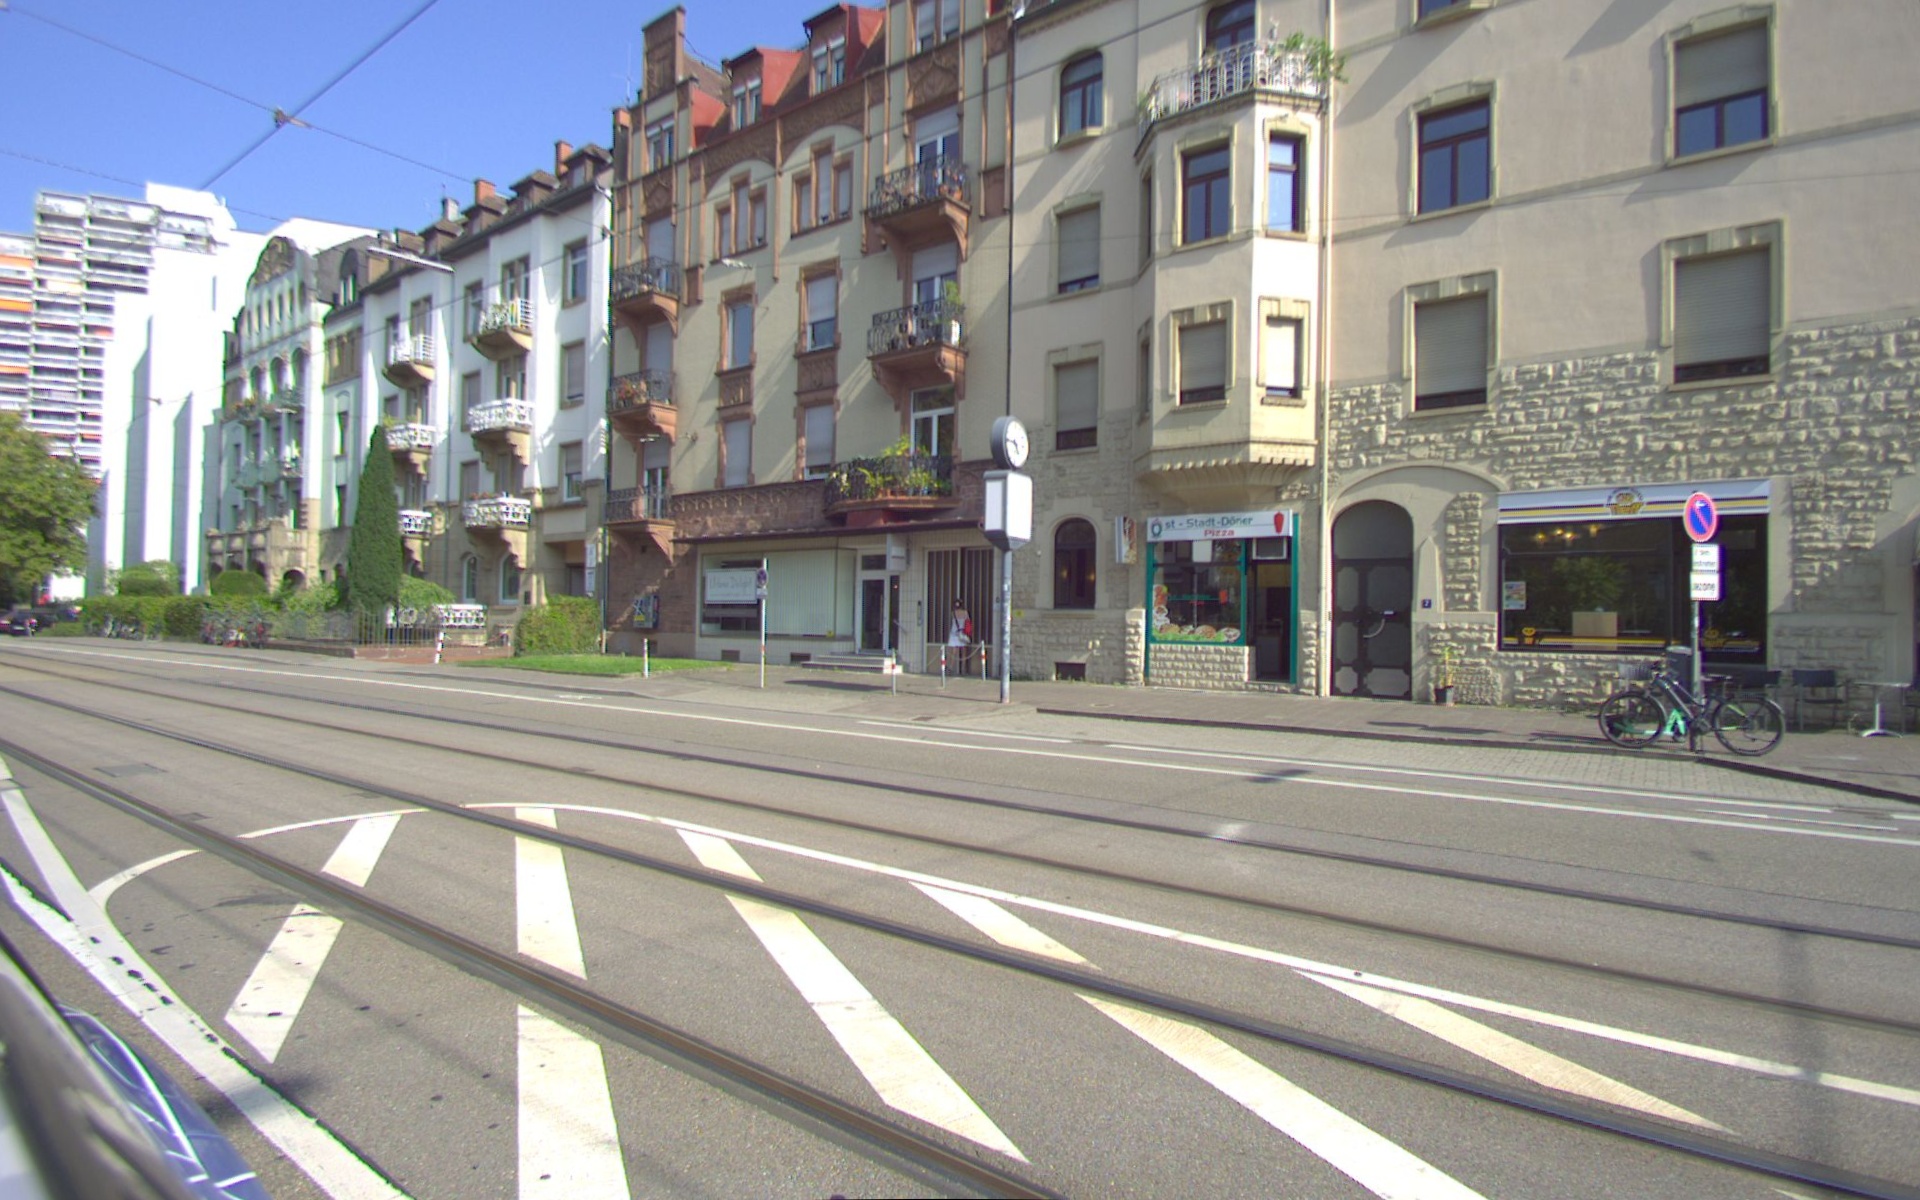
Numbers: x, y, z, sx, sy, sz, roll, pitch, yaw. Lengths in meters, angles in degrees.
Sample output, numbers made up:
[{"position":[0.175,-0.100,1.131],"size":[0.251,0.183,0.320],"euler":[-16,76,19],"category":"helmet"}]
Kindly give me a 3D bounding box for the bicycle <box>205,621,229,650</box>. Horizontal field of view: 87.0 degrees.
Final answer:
[{"position":[-28.832,1.371,39.279],"size":[1.353,1.096,0.366],"euler":[-1,-2,38],"category":"bicycle"}]

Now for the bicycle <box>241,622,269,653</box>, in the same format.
[{"position":[-25.343,1.352,36.390],"size":[1.486,1.096,0.366],"euler":[-1,-2,38],"category":"bicycle"}]

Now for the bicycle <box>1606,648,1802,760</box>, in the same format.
[{"position":[8.902,1.214,12.195],"size":[1.849,1.236,0.450],"euler":[0,-2,29],"category":"bicycle"}]

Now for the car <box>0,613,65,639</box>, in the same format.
[{"position":[-56.570,1.578,61.270],"size":[1.743,1.539,4.009],"euler":[1,-2,-11],"category":"car"}]

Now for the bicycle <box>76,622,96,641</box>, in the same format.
[{"position":[-44.582,1.606,51.617],"size":[1.767,0.985,0.420],"euler":[-1,-2,37],"category":"bicycle"}]

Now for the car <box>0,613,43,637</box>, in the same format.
[{"position":[-62.280,1.639,66.072],"size":[1.743,1.539,4.009],"euler":[1,-2,-11],"category":"car"}]

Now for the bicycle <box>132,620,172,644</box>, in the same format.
[{"position":[-36.983,1.468,46.334],"size":[0.423,1.096,1.386],"euler":[0,-2,20],"category":"bicycle"}]

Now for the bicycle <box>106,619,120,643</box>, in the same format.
[{"position":[-40.413,1.479,48.288],"size":[0.419,1.096,1.678],"euler":[3,-2,-43],"category":"bicycle"}]

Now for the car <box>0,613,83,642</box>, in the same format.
[{"position":[-51.607,1.560,56.864],"size":[1.743,1.539,4.009],"euler":[1,-2,-11],"category":"car"}]

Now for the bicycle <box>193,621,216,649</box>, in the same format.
[{"position":[-30.183,1.394,40.421],"size":[1.353,1.096,0.366],"euler":[-1,-2,38],"category":"bicycle"}]

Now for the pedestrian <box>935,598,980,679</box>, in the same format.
[{"position":[-0.060,0.906,23.984],"size":[0.762,1.874,0.833],"euler":[2,-2,-24],"category":"pedestrian"}]

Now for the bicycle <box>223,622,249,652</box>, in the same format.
[{"position":[-26.782,1.353,37.427],"size":[1.353,1.096,0.366],"euler":[-1,-2,38],"category":"bicycle"}]

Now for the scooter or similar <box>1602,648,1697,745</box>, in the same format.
[{"position":[8.839,1.227,12.979],"size":[1.018,1.206,0.367],"euler":[1,-2,-7],"category":"scooter or similar"}]

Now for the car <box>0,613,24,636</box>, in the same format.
[{"position":[-64.853,1.613,67.407],"size":[1.743,1.539,4.009],"euler":[1,-2,-11],"category":"car"}]

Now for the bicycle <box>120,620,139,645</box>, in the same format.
[{"position":[-38.144,1.487,46.477],"size":[1.676,1.096,0.420],"euler":[-1,-2,43],"category":"bicycle"}]

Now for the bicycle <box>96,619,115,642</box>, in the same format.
[{"position":[-41.908,1.493,49.636],"size":[1.675,1.096,0.420],"euler":[-1,-2,41],"category":"bicycle"}]

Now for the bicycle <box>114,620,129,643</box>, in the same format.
[{"position":[-39.689,1.490,47.901],"size":[0.419,1.096,1.678],"euler":[3,-2,-43],"category":"bicycle"}]
